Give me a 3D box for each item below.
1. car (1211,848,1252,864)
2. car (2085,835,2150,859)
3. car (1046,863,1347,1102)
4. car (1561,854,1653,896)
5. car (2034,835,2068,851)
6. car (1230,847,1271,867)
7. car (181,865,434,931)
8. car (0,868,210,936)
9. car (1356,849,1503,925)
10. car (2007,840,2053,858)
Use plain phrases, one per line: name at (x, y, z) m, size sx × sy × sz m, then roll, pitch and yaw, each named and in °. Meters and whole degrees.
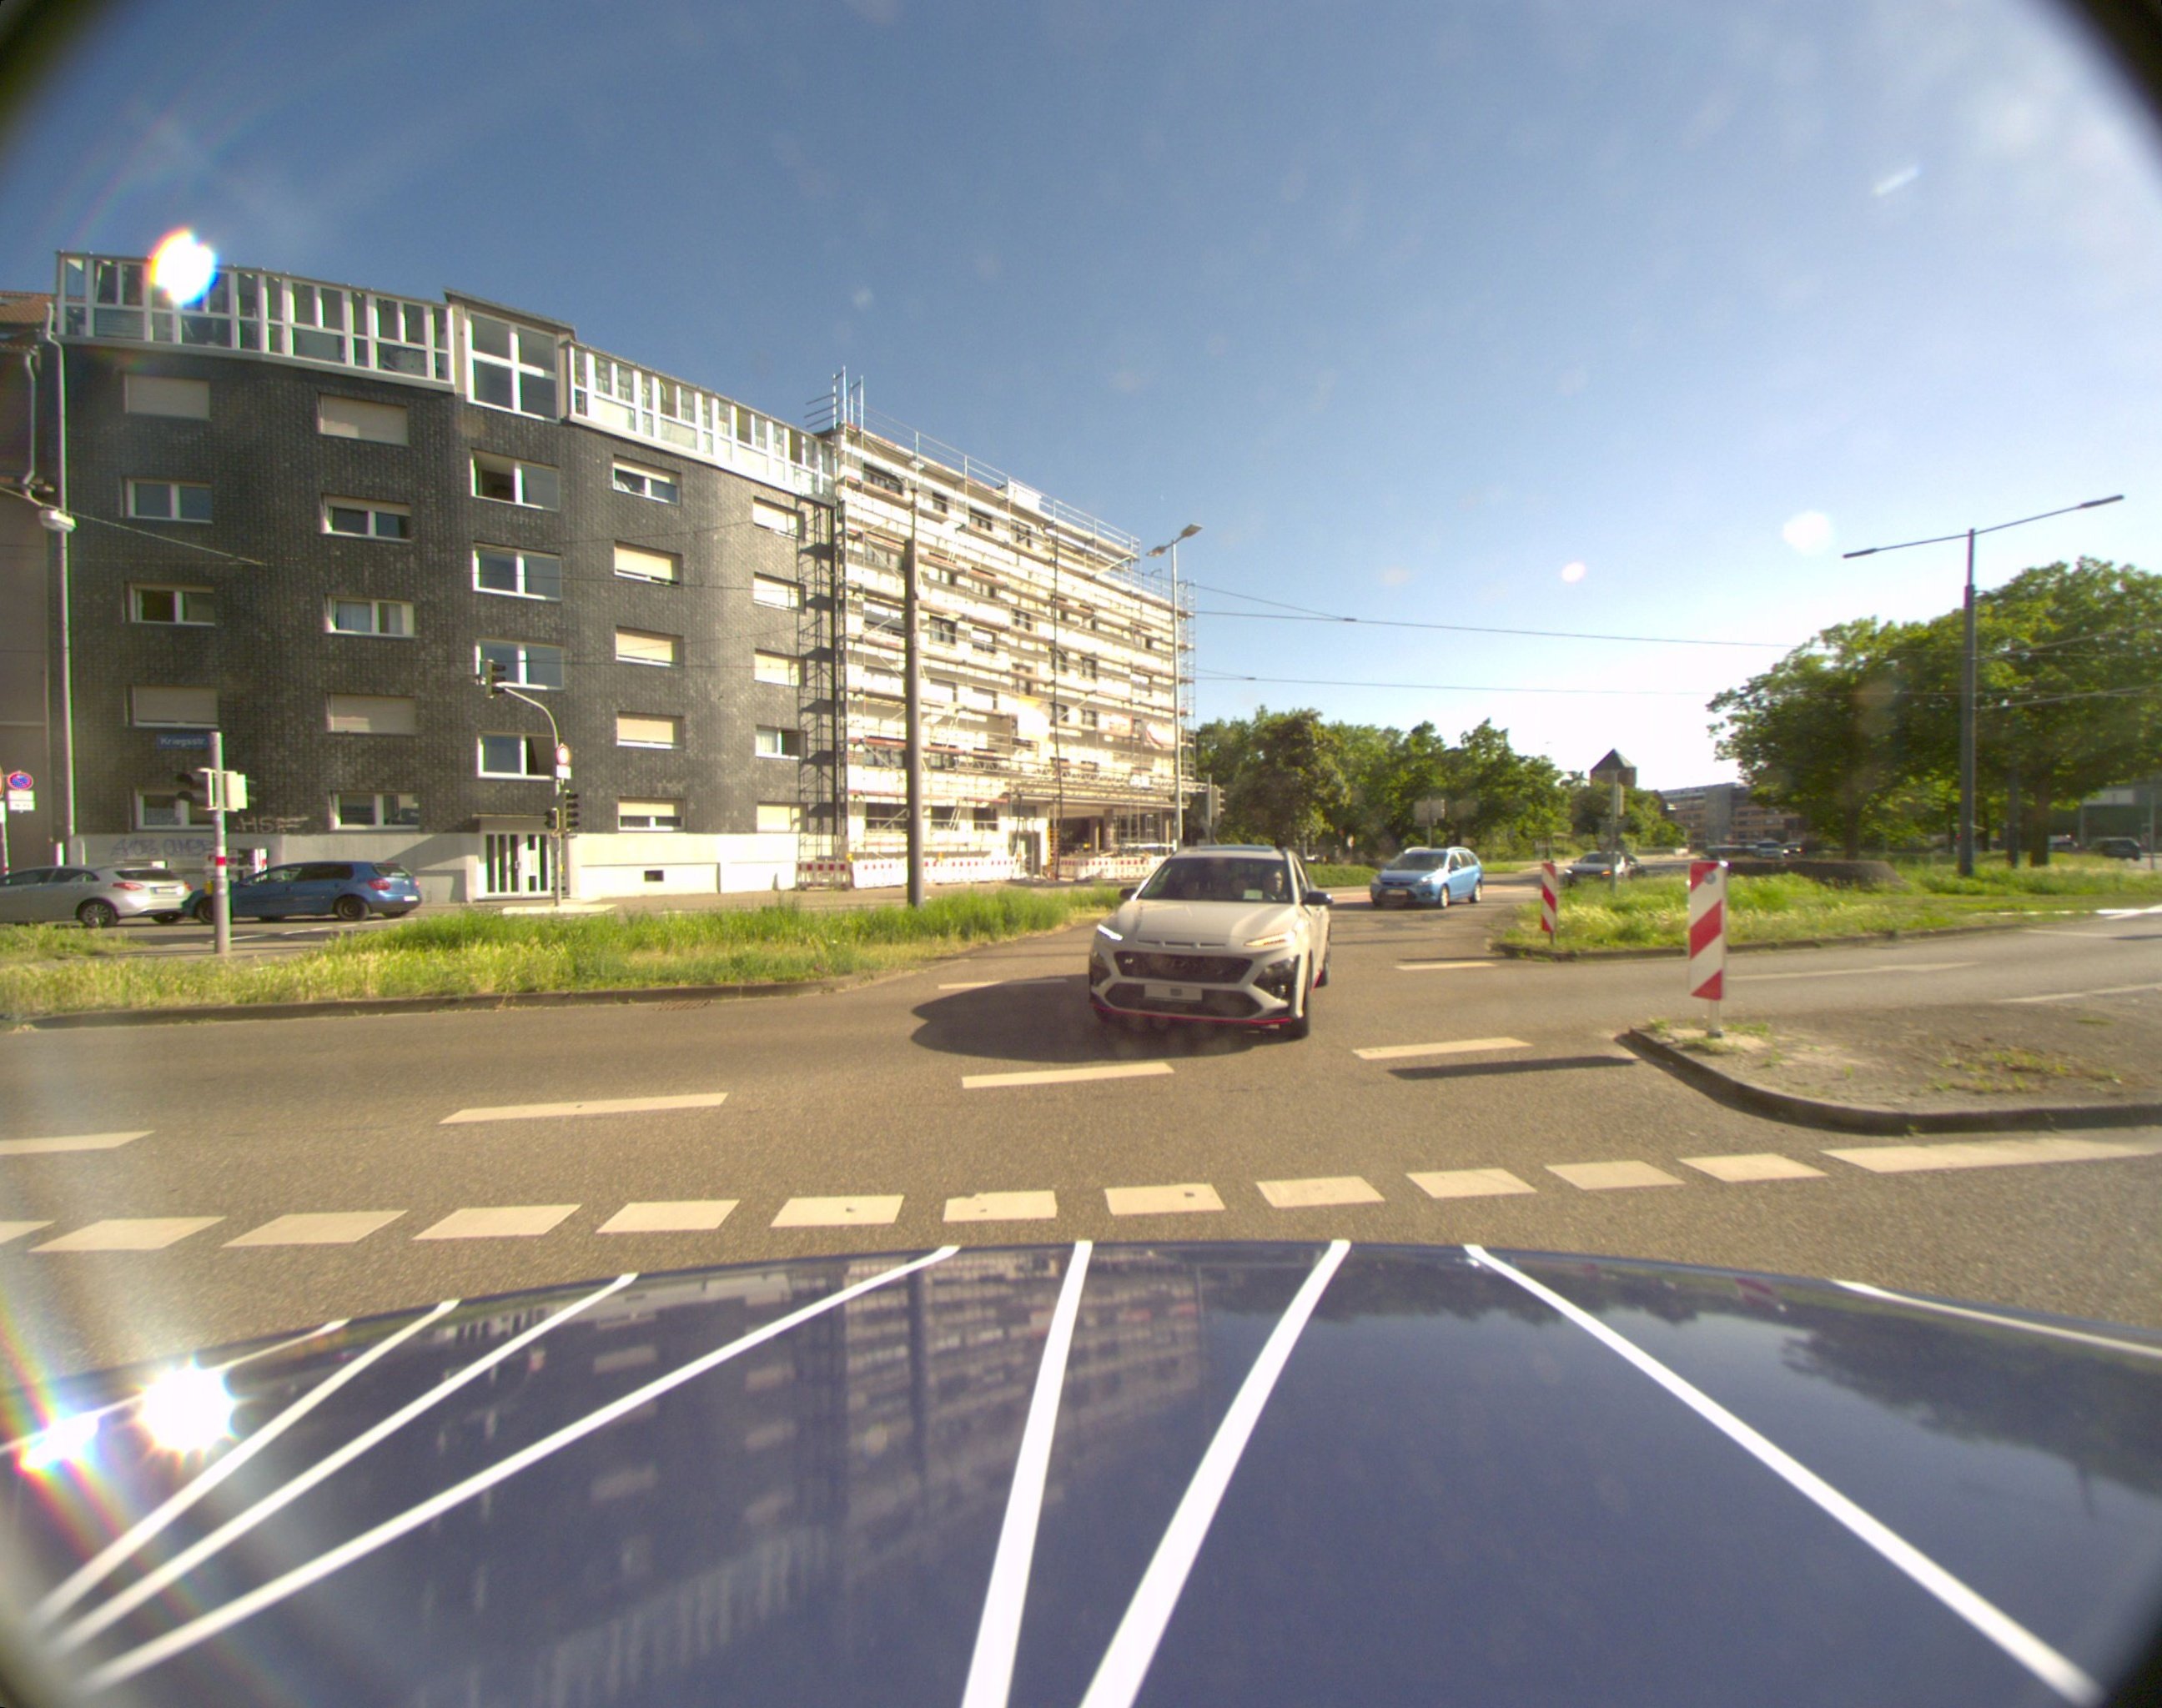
car at (13.364, 0.181, 67.310) m, size 1.816 × 1.386 × 3.692 m, roll 0°, pitch 1°, yaw 44°
car at (75.132, -0.490, 55.144) m, size 1.994 × 1.652 × 4.494 m, roll 0°, pitch 1°, yaw 43°
car at (1.496, 0.913, 7.634) m, size 1.901 × 1.543 × 4.492 m, roll 0°, pitch 1°, yaw 23°
car at (20.170, 0.756, 29.088) m, size 4.494 × 1.447 × 1.868 m, roll -1°, pitch 1°, yaw -41°
car at (122.056, -1.385, 95.654) m, size 1.994 × 2.002 × 4.008 m, roll 0°, pitch 1°, yaw 43°
car at (14.654, 0.237, 65.569) m, size 1.816 × 1.575 × 3.692 m, roll 1°, pitch 1°, yaw 44°
car at (-18.467, 1.011, 18.340) m, size 4.001 × 1.407 × 1.687 m, roll -1°, pitch 1°, yaw -11°
car at (-23.173, 1.067, 17.404) m, size 4.001 × 1.407 × 1.687 m, roll -1°, pitch 1°, yaw -11°
car at (9.333, 0.783, 20.175) m, size 4.494 × 1.765 × 1.868 m, roll -1°, pitch 1°, yaw -41°
car at (92.420, -0.473, 74.067) m, size 1.994 × 1.652 × 4.494 m, roll 0°, pitch 1°, yaw 41°
